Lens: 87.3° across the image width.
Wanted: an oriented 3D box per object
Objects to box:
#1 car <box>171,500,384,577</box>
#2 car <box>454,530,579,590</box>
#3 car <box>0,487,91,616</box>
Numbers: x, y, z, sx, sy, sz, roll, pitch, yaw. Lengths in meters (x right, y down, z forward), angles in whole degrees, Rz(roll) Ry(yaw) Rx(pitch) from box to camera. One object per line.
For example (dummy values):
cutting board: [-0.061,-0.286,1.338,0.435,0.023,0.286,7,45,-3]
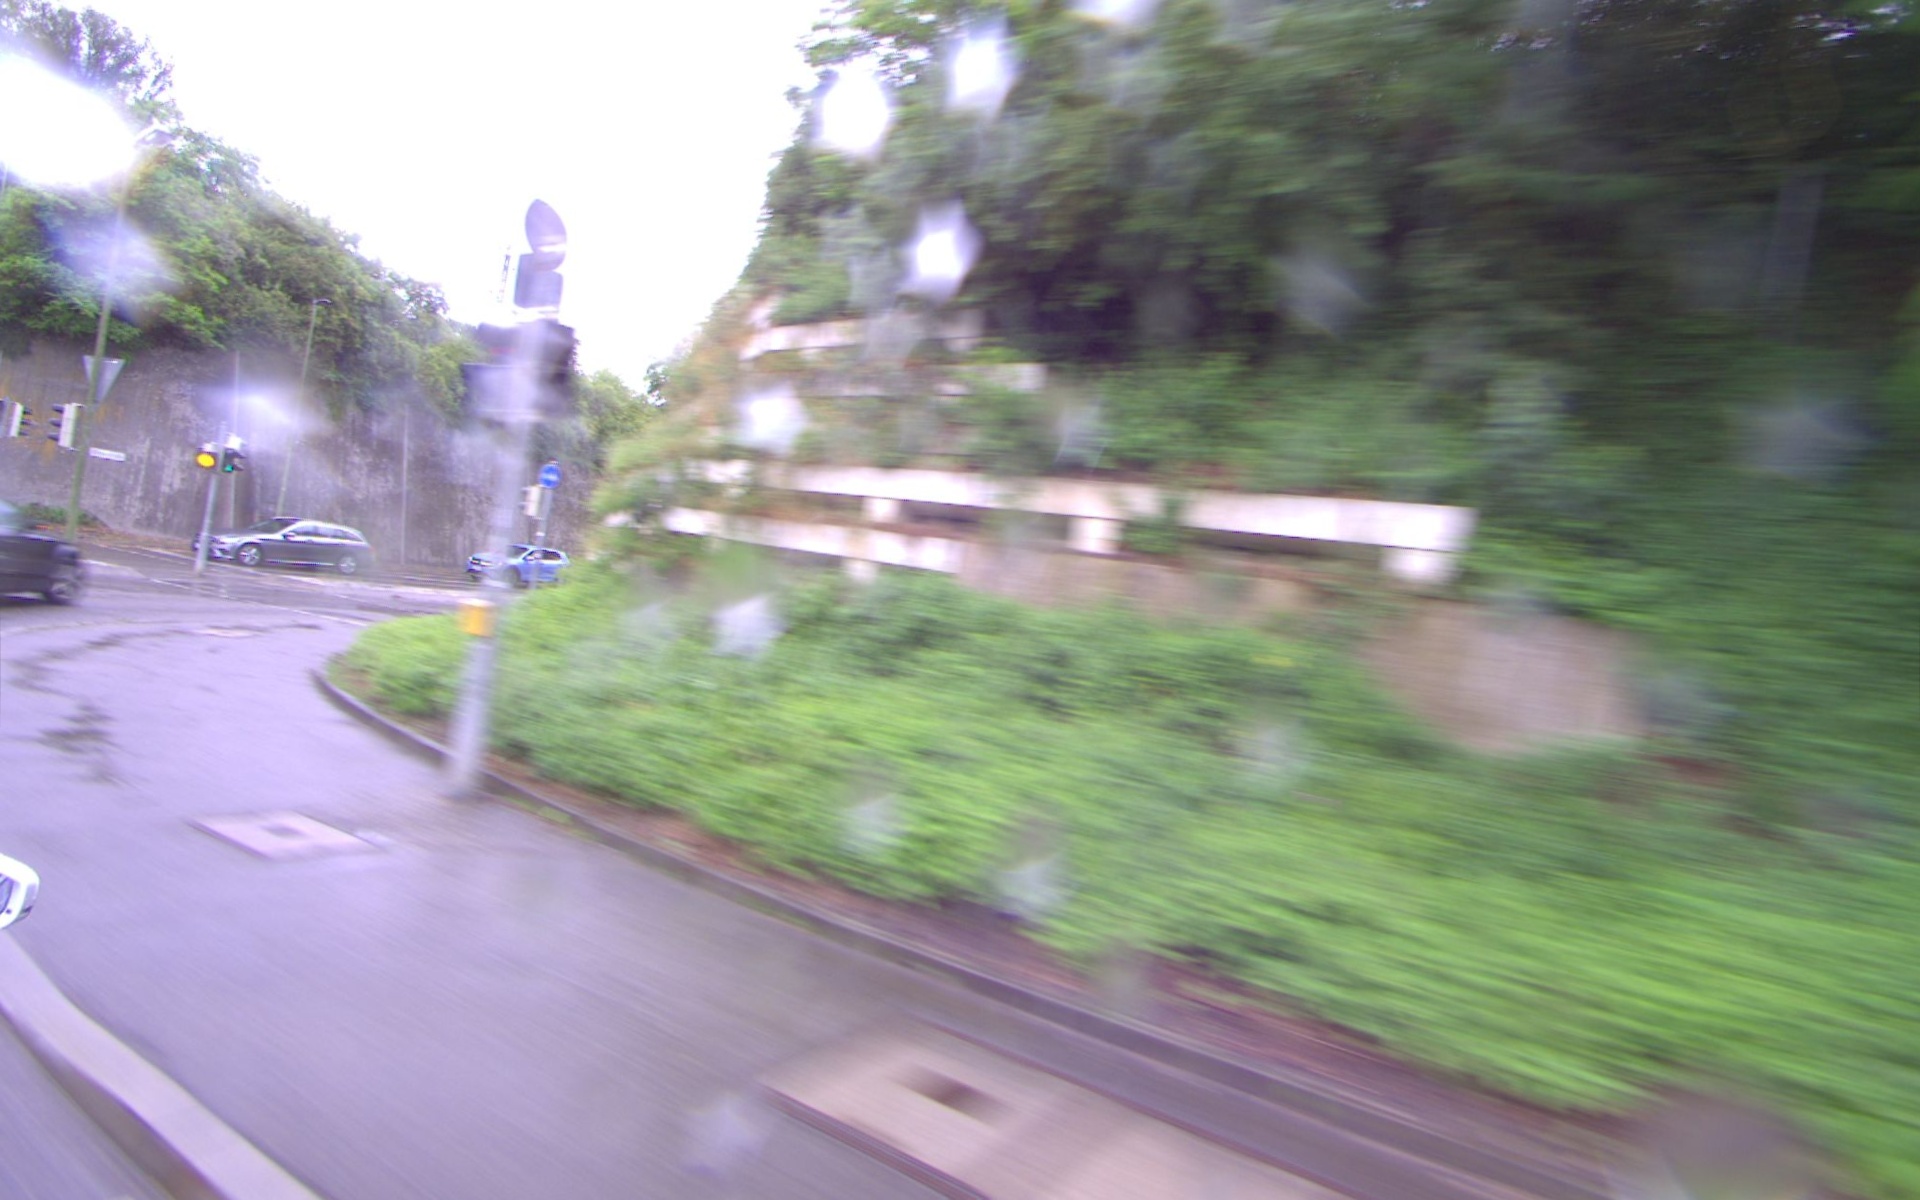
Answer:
car: [-19.621,-1.722,29.196,1.964,1.521,4.728,7,-1,23]
car: [-16.537,-1.449,37.703,1.787,1.677,4.050,7,-1,22]
car: [-12.090,-0.673,11.496,1.873,1.510,4.186,7,-1,-22]
